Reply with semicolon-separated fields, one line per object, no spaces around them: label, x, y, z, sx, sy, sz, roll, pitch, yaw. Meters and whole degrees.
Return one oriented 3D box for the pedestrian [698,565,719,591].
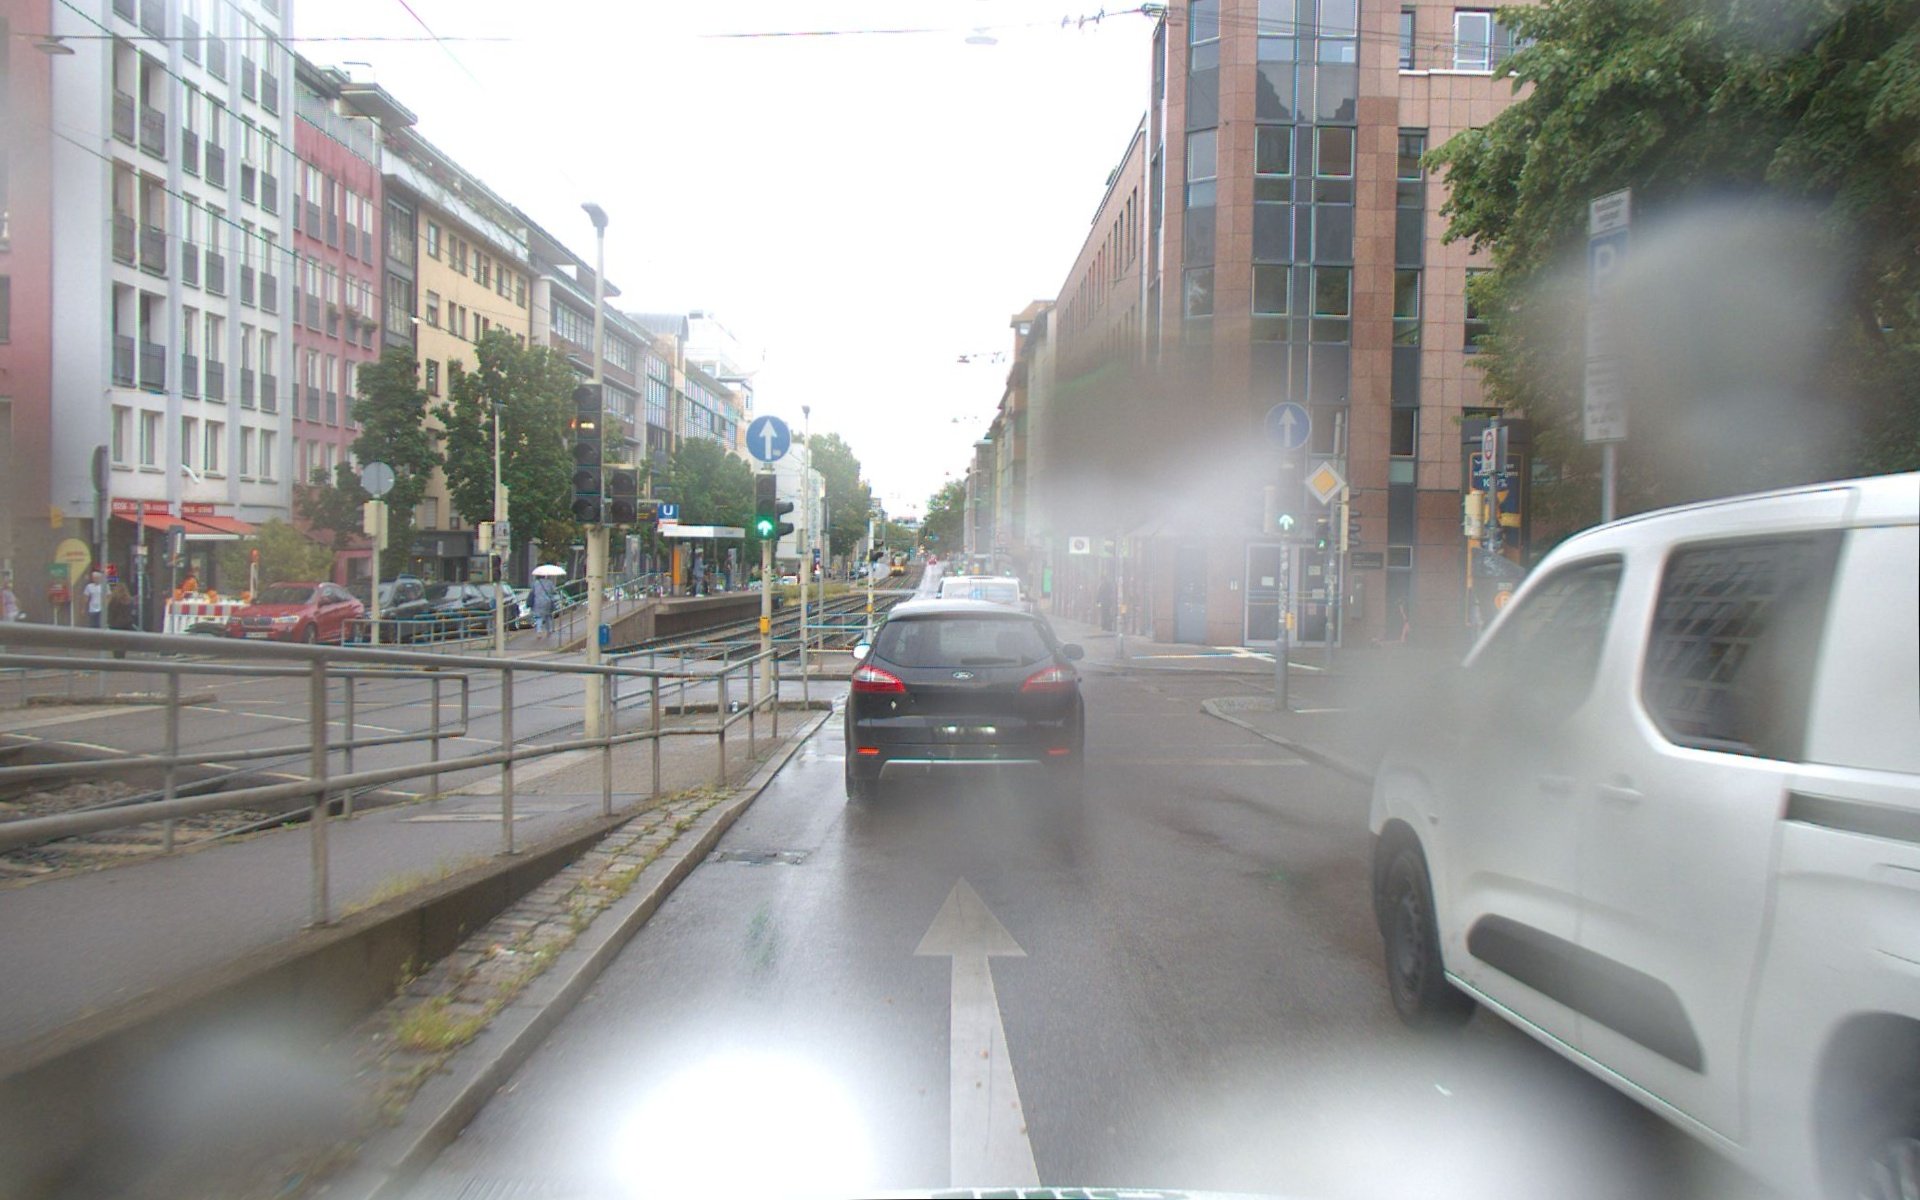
pedestrian;-10.901;-0.948;71.625;0.876;1.143;0.847;0;0;-12

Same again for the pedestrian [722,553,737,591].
pedestrian;-11.225;-1.339;80.408;0.642;1.833;0.849;0;0;-3

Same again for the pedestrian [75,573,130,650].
pedestrian;-19.782;0.259;38.183;0.804;1.727;0.984;2;0;-9

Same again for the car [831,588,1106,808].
car;0.047;0.668;12.995;1.867;1.488;3.444;0;0;-1

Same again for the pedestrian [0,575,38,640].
pedestrian;-21.857;0.174;38.293;0.626;1.487;0.656;2;0;-3

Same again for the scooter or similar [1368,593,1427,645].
scooter or similar;10.612;0.466;40.113;1.345;1.248;0.325;0;0;2

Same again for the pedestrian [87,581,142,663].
pedestrian;-17.747;0.443;34.708;0.867;1.660;0.802;3;3;44

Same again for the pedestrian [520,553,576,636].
pedestrian;-10.460;-0.138;42.038;1.093;2.049;1.383;0;0;-1

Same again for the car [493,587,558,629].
car;-15.689;0.274;59.909;1.537;1.461;3.976;0;1;-4

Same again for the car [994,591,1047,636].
car;2.128;0.460;58.591;1.664;1.487;3.866;-2;0;-1

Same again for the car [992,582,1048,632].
car;1.904;0.210;53.263;1.664;1.505;3.867;-2;0;0

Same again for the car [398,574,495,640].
car;-15.331;0.169;49.573;1.766;1.890;4.378;0;1;-3

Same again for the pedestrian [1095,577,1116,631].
pedestrian;4.554;0.116;51.837;0.589;1.688;0.625;0;0;-1

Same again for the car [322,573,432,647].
car;-15.746;0.232;44.871;1.673;1.890;4.318;0;1;-3

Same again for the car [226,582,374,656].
car;-15.658;0.406;39.484;1.690;1.640;4.553;0;1;0

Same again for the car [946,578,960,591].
car;-0.961;-2.120;224.179;1.867;1.662;4.573;0;0;0

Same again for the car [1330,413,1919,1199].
car;2.582;0.586;4.545;1.868;1.838;4.775;0;0;-3

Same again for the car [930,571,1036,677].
car;0.517;0.422;31.968;1.866;1.897;4.575;0;0;3

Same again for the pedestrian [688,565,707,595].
pedestrian;-11.003;-0.845;69.271;0.679;1.271;0.884;0;0;-3

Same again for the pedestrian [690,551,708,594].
pedestrian;-10.560;-1.098;66.999;0.642;1.741;0.849;0;0;-3

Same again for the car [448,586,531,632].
car;-15.707;0.263;55.384;1.804;1.461;4.316;0;1;-4
